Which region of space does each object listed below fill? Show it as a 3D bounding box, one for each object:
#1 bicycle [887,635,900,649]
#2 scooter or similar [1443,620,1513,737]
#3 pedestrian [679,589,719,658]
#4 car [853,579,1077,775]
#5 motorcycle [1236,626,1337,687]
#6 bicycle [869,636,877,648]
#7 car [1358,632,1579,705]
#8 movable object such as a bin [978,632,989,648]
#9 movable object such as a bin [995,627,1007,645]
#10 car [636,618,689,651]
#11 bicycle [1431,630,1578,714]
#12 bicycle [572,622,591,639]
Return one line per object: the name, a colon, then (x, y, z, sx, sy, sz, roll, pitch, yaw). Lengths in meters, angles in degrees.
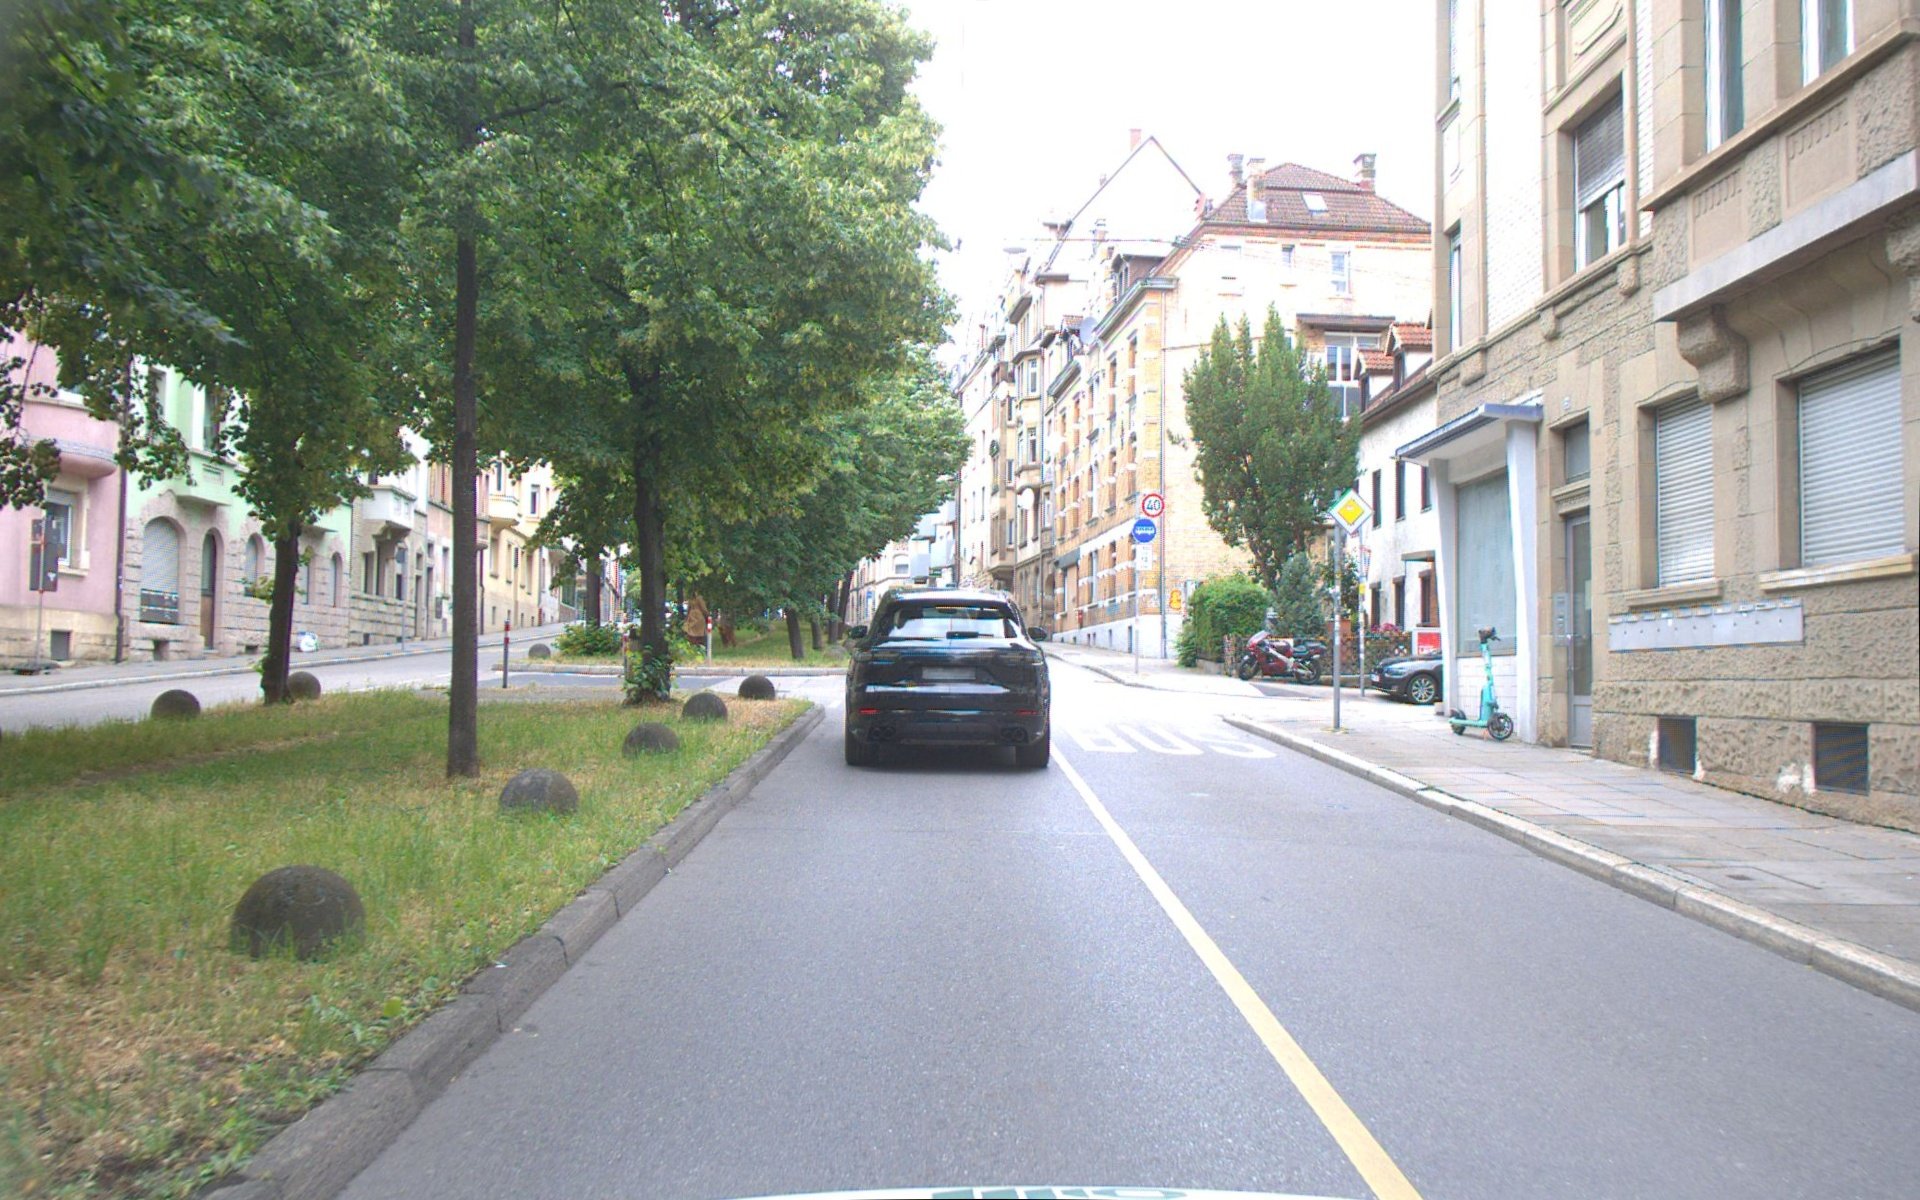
bicycle: (-5.914, 3.782, 147.609, 0.862, 1.149, 2.973, 1, -3, -8)
scooter or similar: (5.903, 0.879, 18.887, 0.401, 1.231, 1.145, -2, 2, -1)
pedestrian: (-6.920, 0.631, 43.844, 0.816, 1.742, 1.122, -3, -3, -1)
car: (-0.046, 0.699, 16.713, 1.954, 1.695, 3.997, 2, 0, -3)
motorcycle: (7.343, 1.273, 37.258, 2.015, 1.290, 1.009, 2, -1, -5)
bicycle: (-8.342, 3.997, 158.497, 0.438, 1.055, 2.243, 0, -3, -10)
car: (10.621, 1.423, 34.724, 4.042, 1.308, 1.782, 1, 2, -4)
movable object such as a bin: (1.390, 2.327, 96.647, 0.583, 0.920, 0.502, 1, -5, -6)
movable object such as a bin: (2.190, 1.931, 88.230, 0.583, 0.920, 0.562, 1, -2, -6)
car: (-14.106, 1.621, 78.561, 1.673, 1.406, 4.668, -1, 0, 0)
bicycle: (8.234, 1.112, 25.097, 0.637, 1.160, 2.040, 6, -9, -44)
bicycle: (-27.036, 2.196, 118.175, 0.754, 1.104, 2.016, 3, -4, -29)
